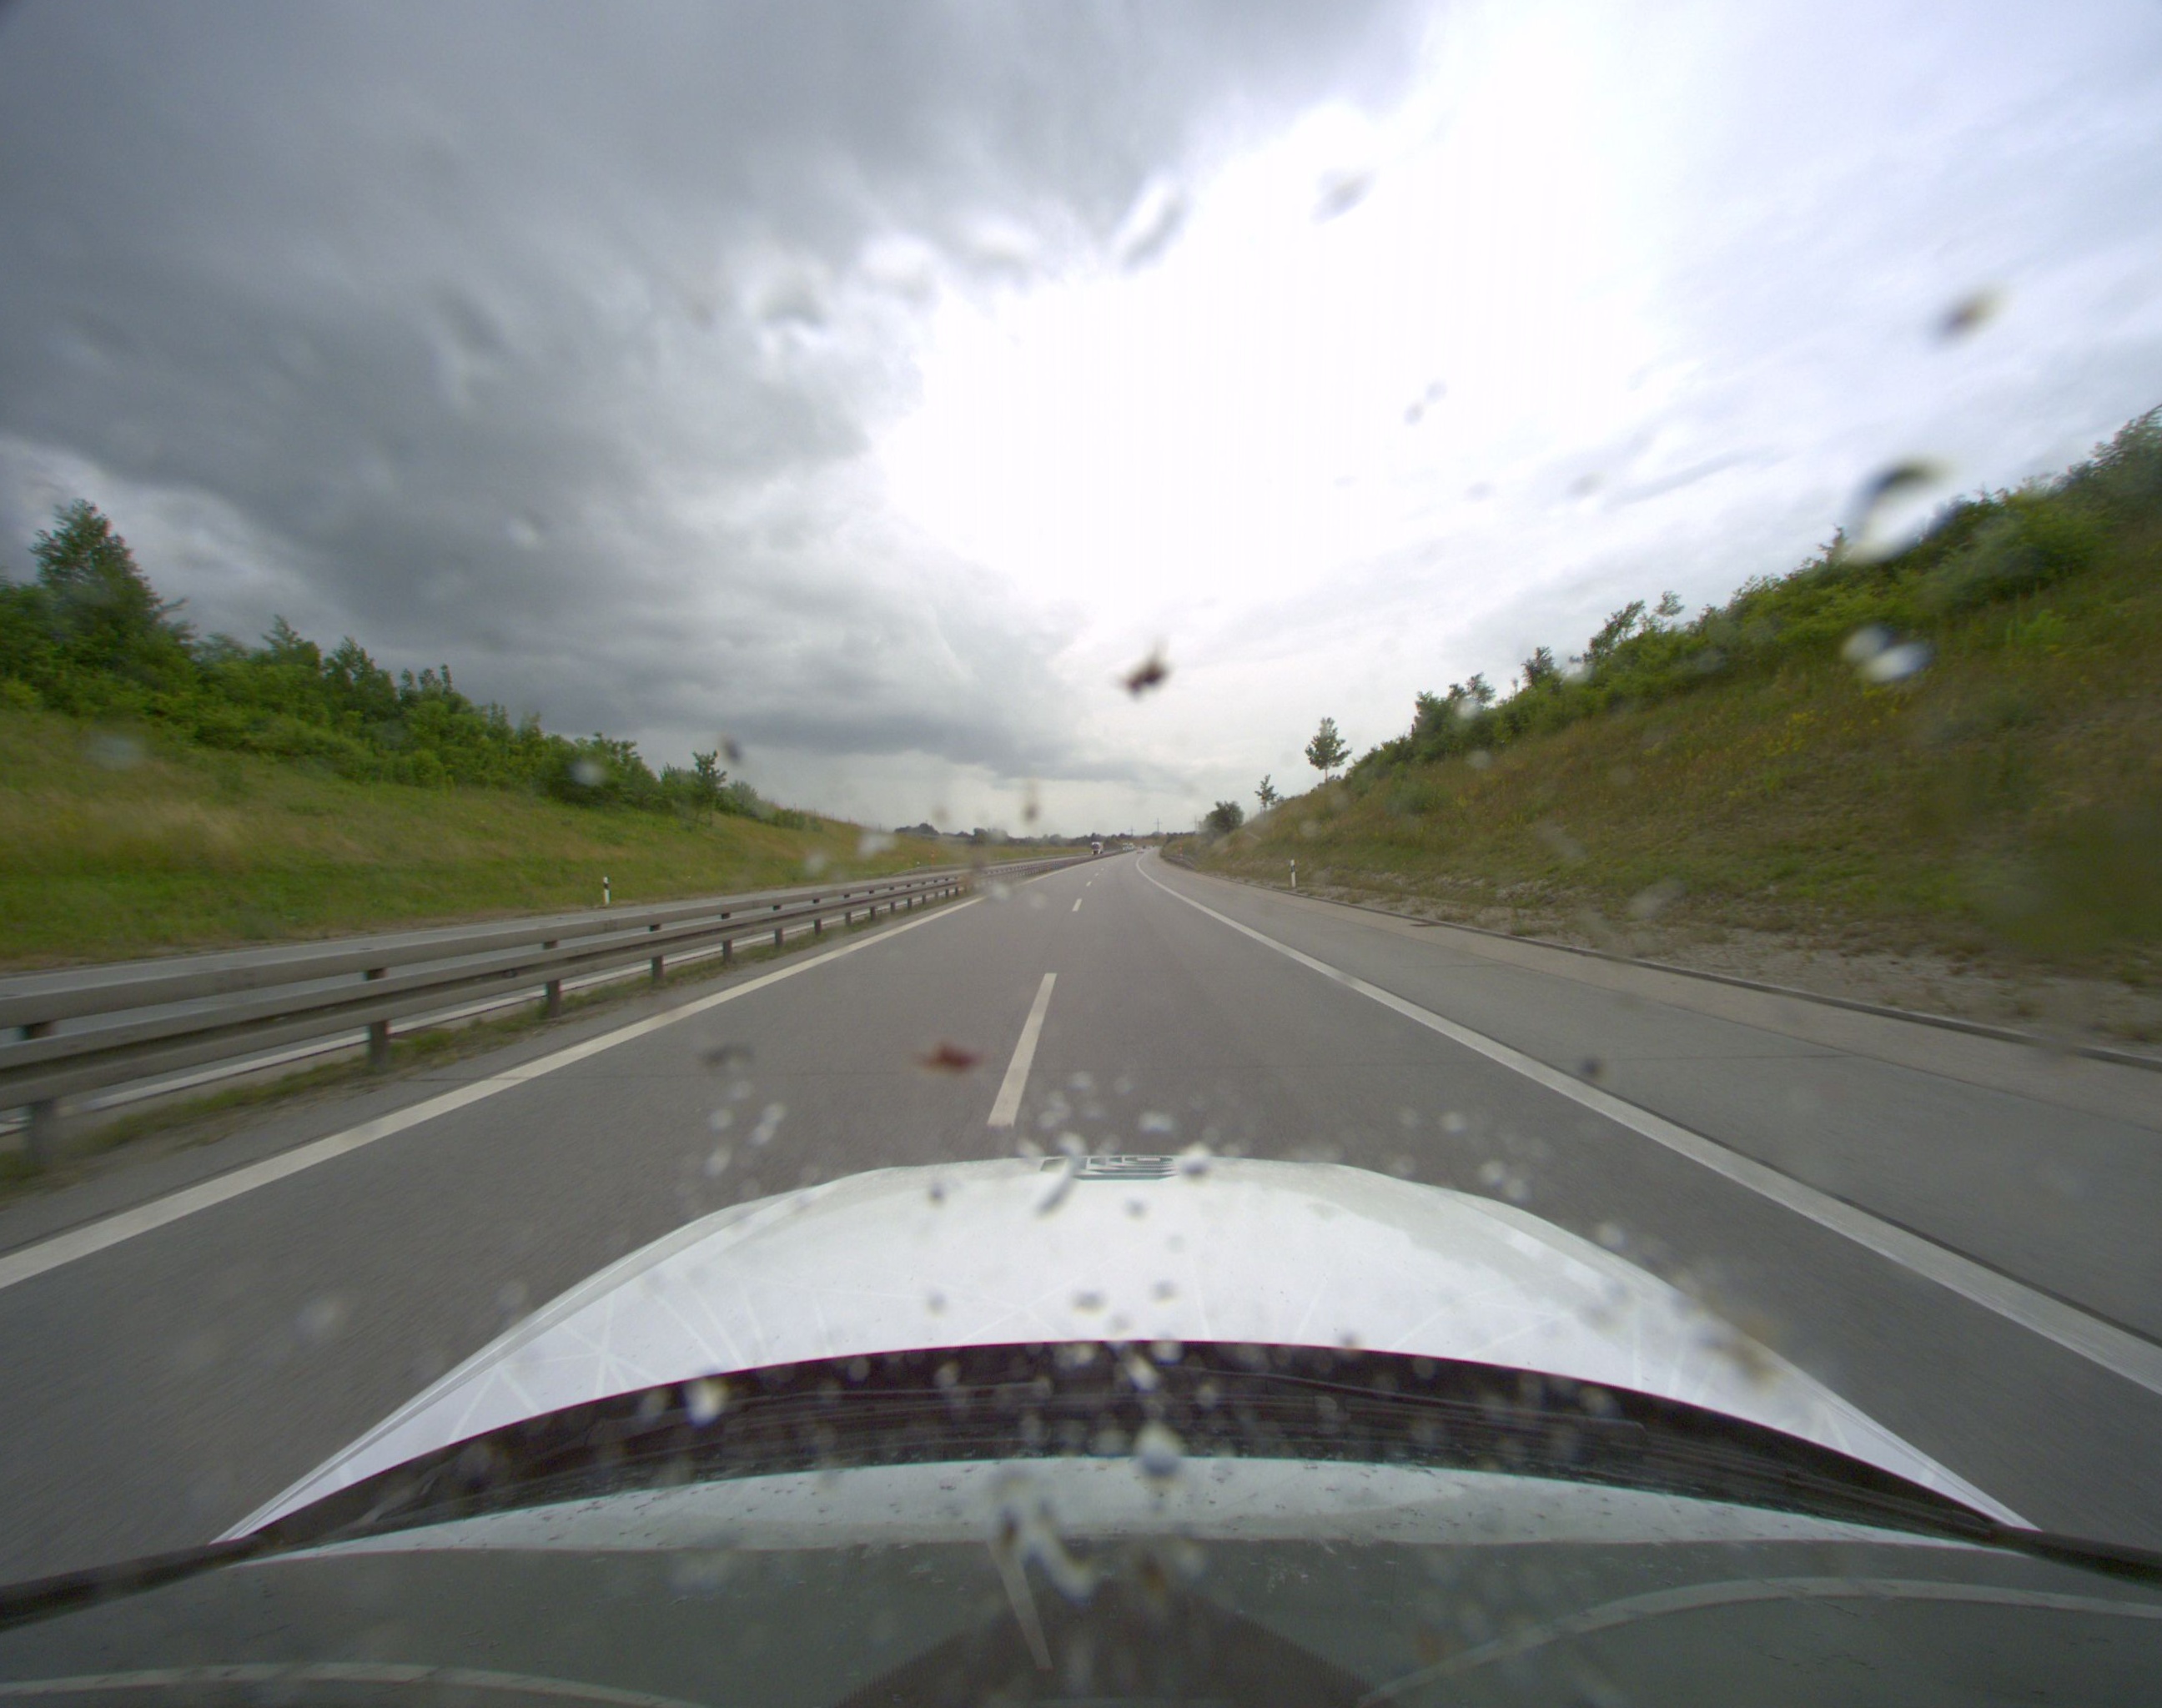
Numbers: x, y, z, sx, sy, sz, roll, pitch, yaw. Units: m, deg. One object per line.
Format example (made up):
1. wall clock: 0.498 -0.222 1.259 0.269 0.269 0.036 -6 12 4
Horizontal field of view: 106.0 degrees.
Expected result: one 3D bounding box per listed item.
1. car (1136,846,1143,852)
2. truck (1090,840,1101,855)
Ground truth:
1. car: 17.594 -1.464 244.792 1.945 1.651 4.009 -2 -1 8
2. truck: 4.575 -1.982 256.432 2.782 4.647 6.929 -2 0 5
